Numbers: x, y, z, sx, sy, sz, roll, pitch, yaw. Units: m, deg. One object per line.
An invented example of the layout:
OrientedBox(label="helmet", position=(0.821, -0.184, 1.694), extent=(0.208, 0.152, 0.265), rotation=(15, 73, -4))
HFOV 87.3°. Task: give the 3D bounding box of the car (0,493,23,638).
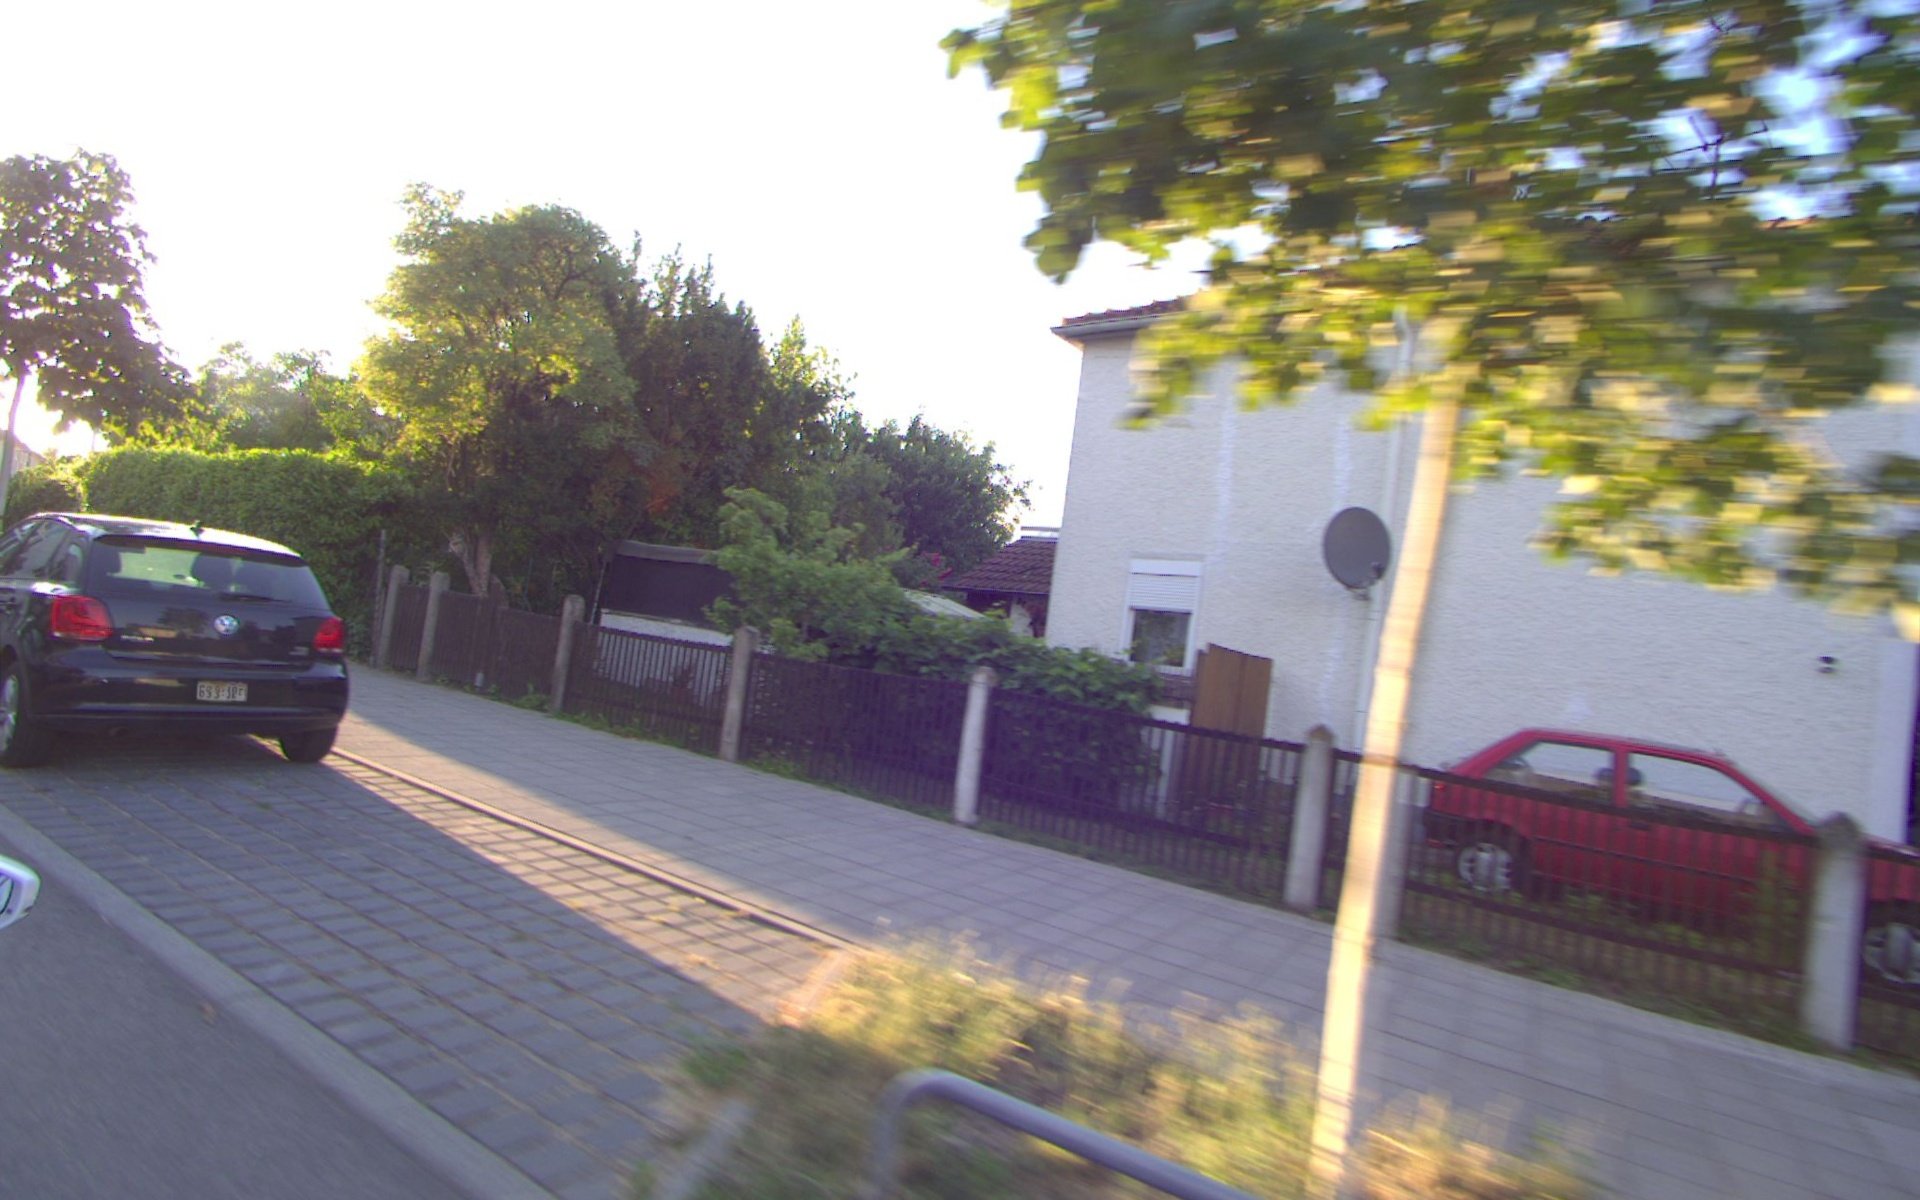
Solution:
OrientedBox(label="car", position=(-12.616, -0.640, 11.730), extent=(4.481, 1.567, 1.711), rotation=(6, -3, 39))

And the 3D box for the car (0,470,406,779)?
OrientedBox(label="car", position=(-5.618, 0.077, 6.874), extent=(3.584, 1.569, 1.742), rotation=(6, -2, 37))

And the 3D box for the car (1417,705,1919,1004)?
OrientedBox(label="car", position=(5.654, 1.812, 7.682), extent=(3.584, 1.460, 1.529), rotation=(6, -2, 37))
